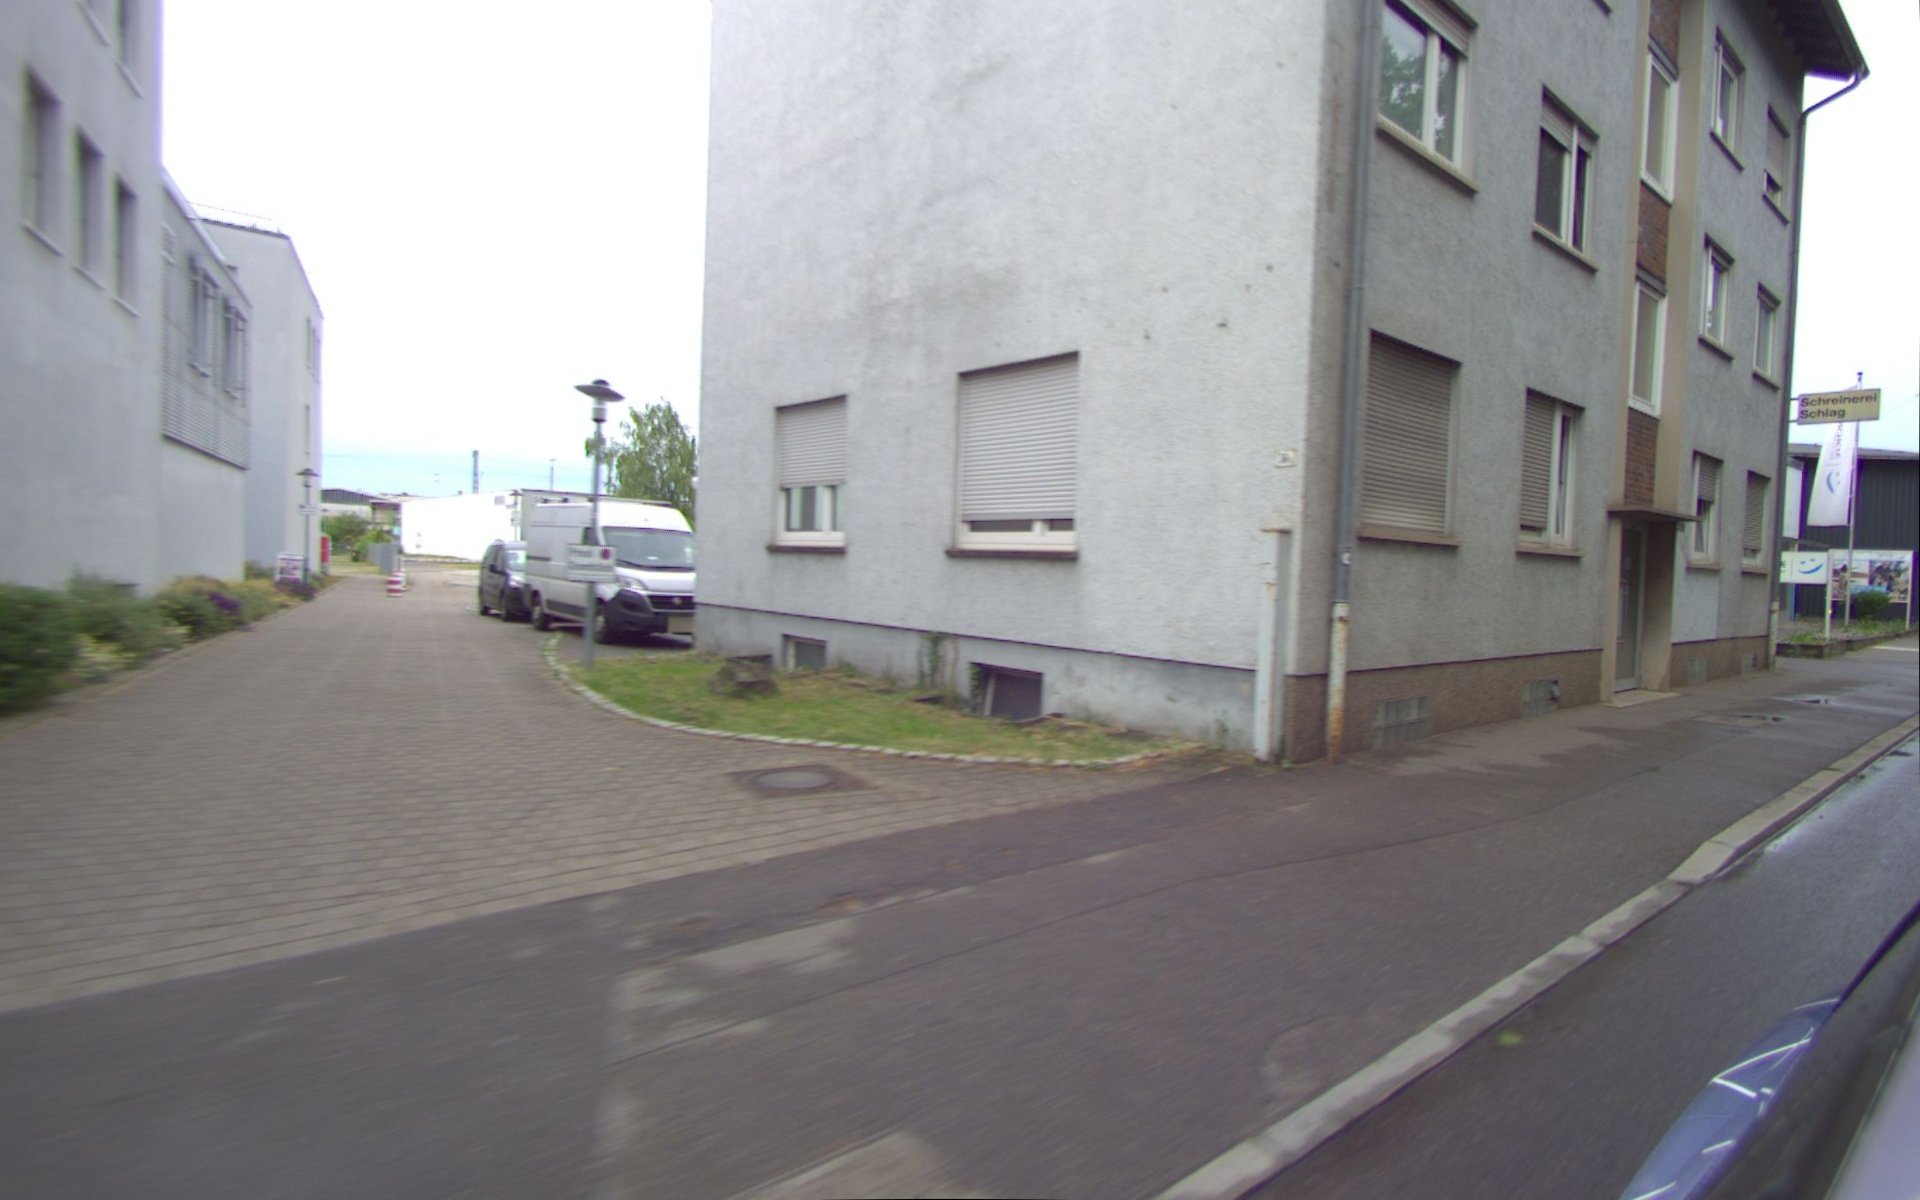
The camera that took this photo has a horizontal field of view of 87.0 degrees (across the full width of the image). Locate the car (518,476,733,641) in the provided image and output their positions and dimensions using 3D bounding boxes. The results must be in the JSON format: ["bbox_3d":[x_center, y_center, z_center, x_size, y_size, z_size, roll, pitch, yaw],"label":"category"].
[{"bbox_3d":[-6.356,-0.771,18.763,2.029,2.626,5.275,-1,3,-40],"label":"car"}]

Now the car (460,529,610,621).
[{"bbox_3d":[-9.734,-0.607,23.006,1.985,1.894,4.311,-1,3,-40],"label":"car"}]
